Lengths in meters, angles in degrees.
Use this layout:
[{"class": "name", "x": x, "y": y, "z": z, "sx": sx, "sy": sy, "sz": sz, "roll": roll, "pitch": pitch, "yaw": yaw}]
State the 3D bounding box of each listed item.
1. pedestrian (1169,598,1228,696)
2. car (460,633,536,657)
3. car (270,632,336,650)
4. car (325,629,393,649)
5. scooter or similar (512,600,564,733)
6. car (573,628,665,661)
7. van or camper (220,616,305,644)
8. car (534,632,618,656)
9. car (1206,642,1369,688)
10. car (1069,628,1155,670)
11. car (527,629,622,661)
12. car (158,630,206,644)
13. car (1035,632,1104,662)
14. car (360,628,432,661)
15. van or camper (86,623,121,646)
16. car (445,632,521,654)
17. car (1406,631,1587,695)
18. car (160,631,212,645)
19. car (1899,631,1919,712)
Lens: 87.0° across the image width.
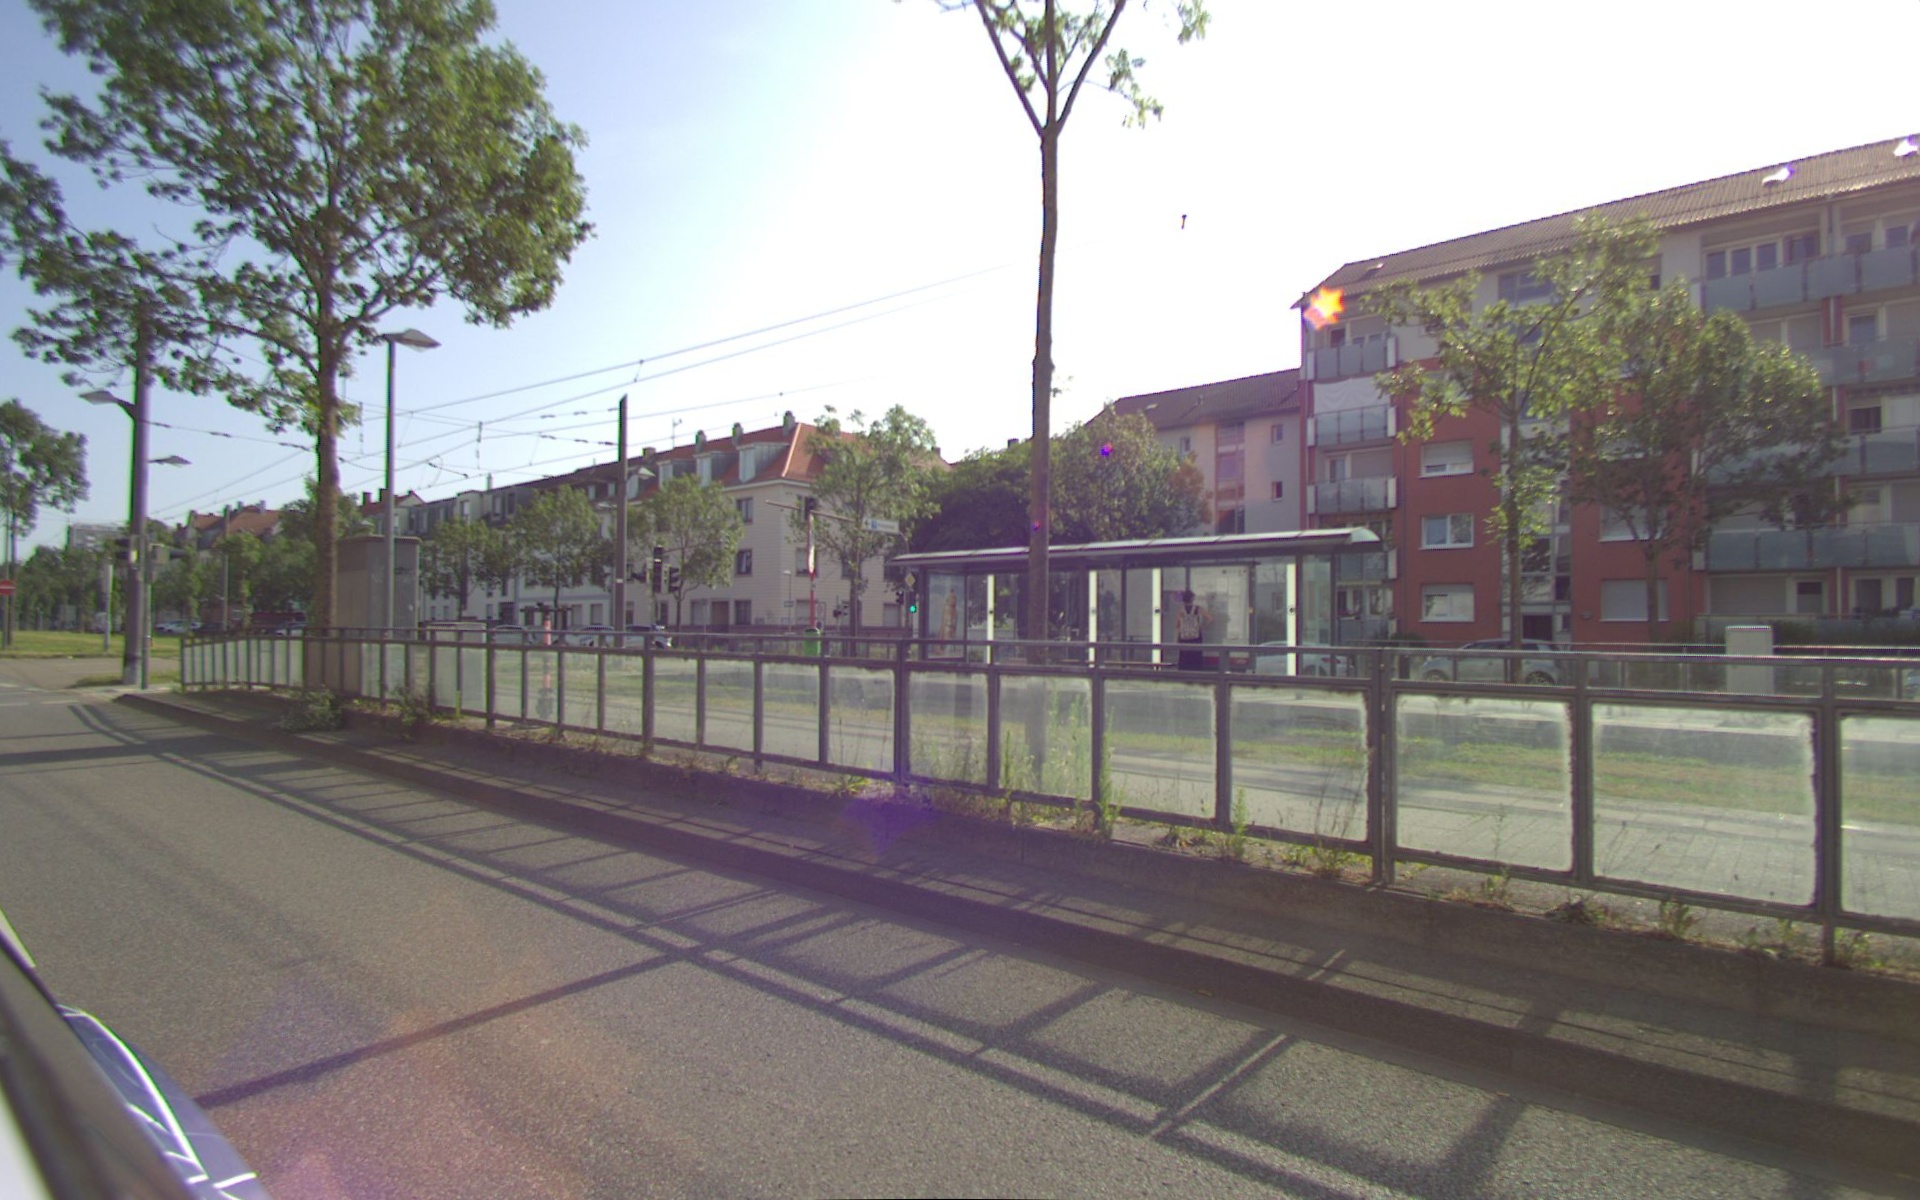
[{"class": "pedestrian", "x": 4.156, "y": 0.813, "z": 17.625, "sx": 0.793, "sy": 1.666, "sz": 0.665, "roll": -1, "pitch": -3, "yaw": 37}, {"class": "car", "x": -27.193, "y": 2.620, "z": 59.716, "sx": 3.931, "sy": 1.279, "sz": 1.892, "roll": 0, "pitch": -1, "yaw": -19}, {"class": "car", "x": -55.492, "y": 3.450, "z": 85.546, "sx": 4.325, "sy": 1.330, "sz": 1.739, "roll": -1, "pitch": -1, "yaw": -16}, {"class": "car", "x": -45.704, "y": 2.941, "z": 77.063, "sx": 4.264, "sy": 1.386, "sz": 2.007, "roll": 0, "pitch": -1, "yaw": -23}, {"class": "scooter or similar", "x": -4.226, "y": 0.656, "z": 10.179, "sx": 0.420, "sy": 1.248, "sz": 1.266, "roll": 2, "pitch": -3, "yaw": -21}, {"class": "car", "x": -17.107, "y": 2.213, "z": 50.936, "sx": 4.279, "sy": 1.474, "sz": 1.969, "roll": -1, "pitch": -1, "yaw": -15}, {"class": "van or camper", "x": -64.953, "y": 2.813, "z": 94.401, "sx": 6.061, "sy": 2.566, "sz": 2.419, "roll": 0, "pitch": -2, "yaw": -11}, {"class": "car", "x": -20.939, "y": 2.389, "z": 55.295, "sx": 3.937, "sy": 1.187, "sz": 2.003, "roll": -1, "pitch": -1, "yaw": -8}, {"class": "car", "x": 9.541, "y": 1.865, "z": 29.661, "sx": 4.162, "sy": 1.156, "sz": 1.814, "roll": -1, "pitch": -1, "yaw": 41}, {"class": "car", "x": 6.894, "y": 2.159, "z": 45.599, "sx": 2.000, "sy": 1.708, "sz": 3.944, "roll": -1, "pitch": -1, "yaw": 42}, {"class": "car", "x": -20.162, "y": 2.347, "z": 53.106, "sx": 4.391, "sy": 1.526, "sz": 2.005, "roll": -1, "pitch": -1, "yaw": -12}, {"class": "car", "x": -88.686, "y": 4.180, "z": 115.392, "sx": 4.032, "sy": 1.541, "sz": 1.817, "roll": -1, "pitch": -1, "yaw": -11}, {"class": "car", "x": 6.400, "y": 2.698, "z": 58.815, "sx": 1.999, "sy": 1.618, "sz": 3.943, "roll": -1, "pitch": -1, "yaw": 43}, {"class": "car", "x": -32.037, "y": 2.528, "z": 57.454, "sx": 4.709, "sy": 1.719, "sz": 1.973, "roll": -1, "pitch": -5, "yaw": 40}, {"class": "van or camper", "x": -99.180, "y": 3.974, "z": 117.220, "sx": 6.056, "sy": 2.493, "sz": 2.119, "roll": -1, "pitch": -4, "yaw": 41}, {"class": "car", "x": -29.190, "y": 2.658, "z": 62.087, "sx": 3.932, "sy": 1.268, "sz": 1.881, "roll": 2, "pitch": -3, "yaw": -16}, {"class": "car", "x": 13.855, "y": 1.570, "z": 26.227, "sx": 3.824, "sy": 1.482, "sz": 1.814, "roll": -1, "pitch": -1, "yaw": 41}, {"class": "car", "x": -86.785, "y": 4.256, "z": 113.498, "sx": 4.295, "sy": 1.486, "sz": 1.862, "roll": -1, "pitch": -1, "yaw": -11}, {"class": "car", "x": 21.318, "y": 1.405, "z": 19.556, "sx": 4.534, "sy": 1.568, "sz": 1.960, "roll": -1, "pitch": -1, "yaw": 41}]
